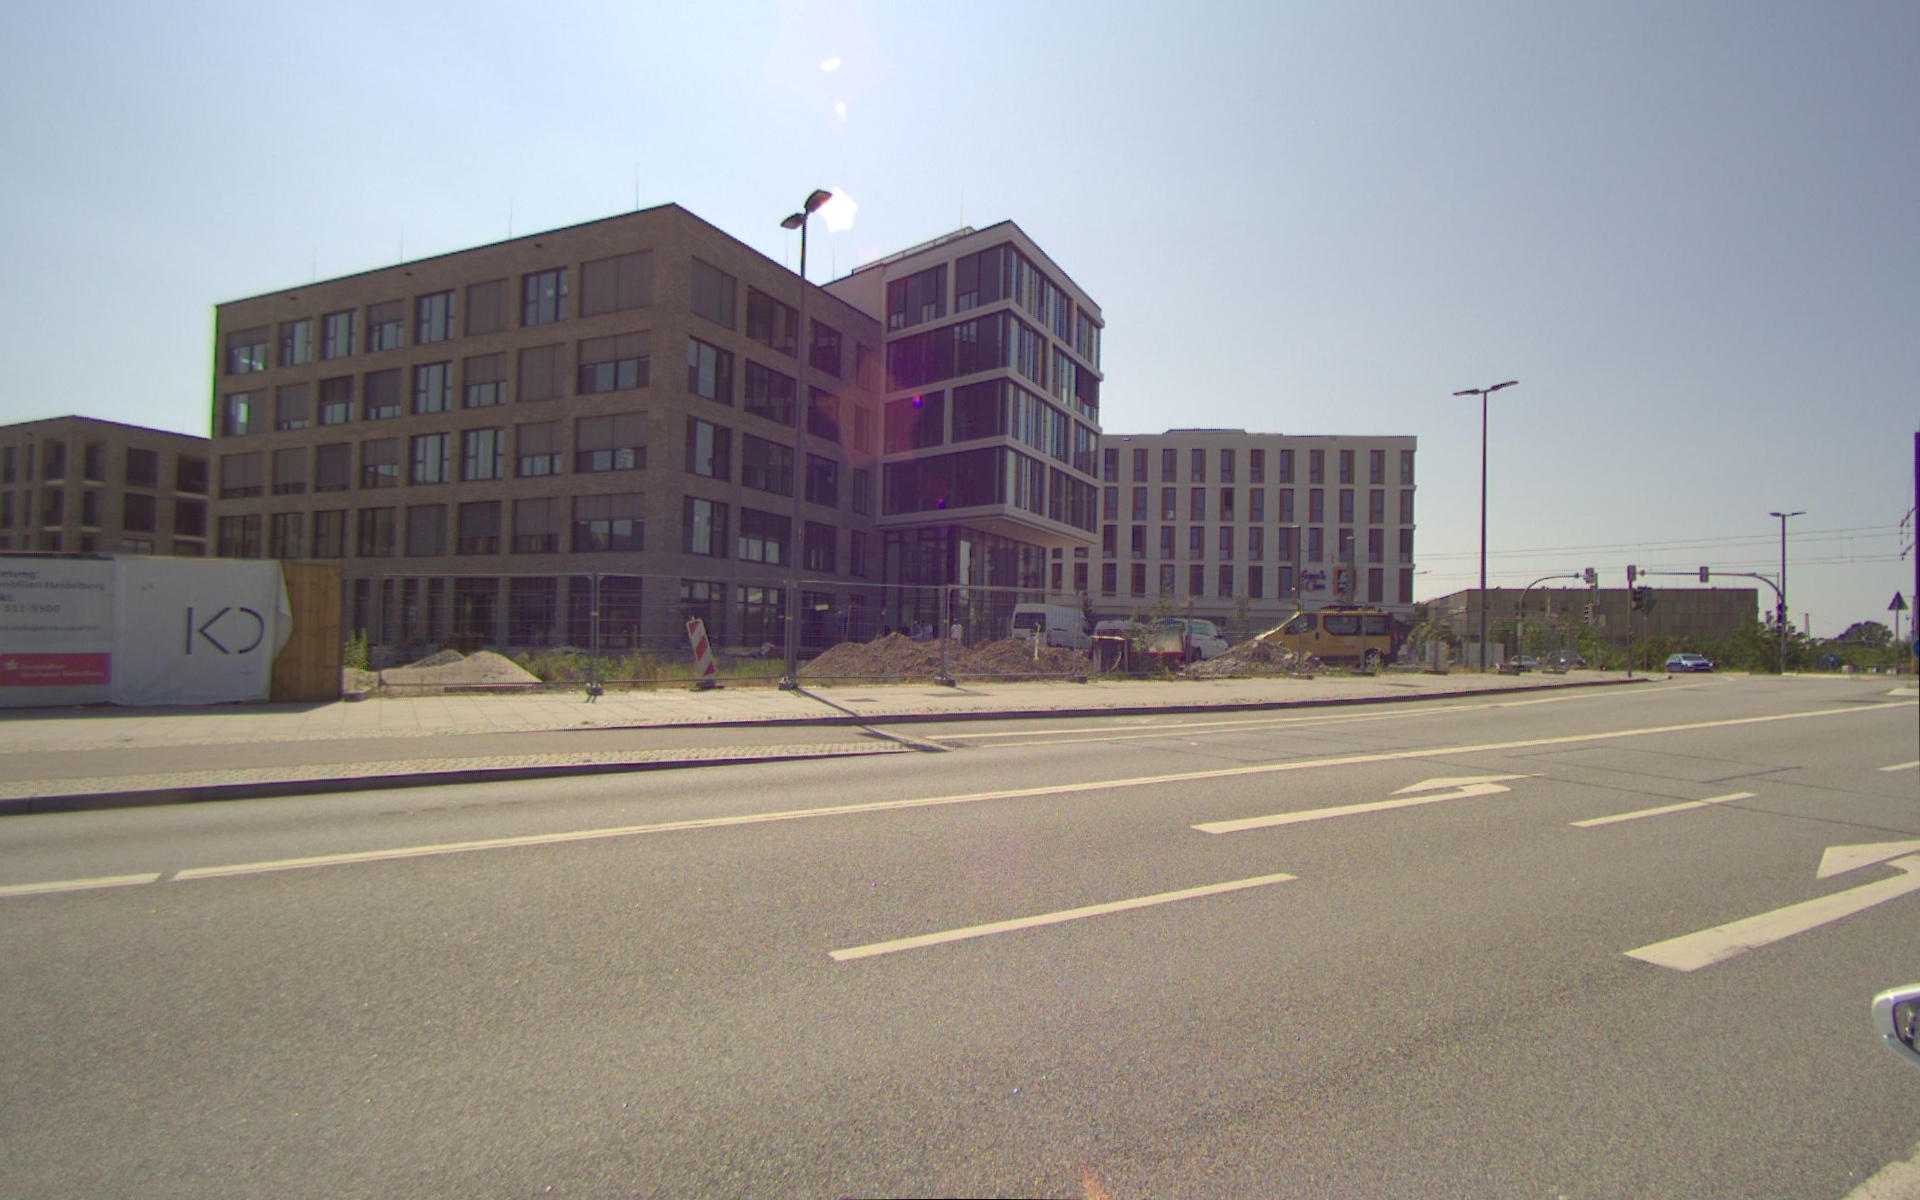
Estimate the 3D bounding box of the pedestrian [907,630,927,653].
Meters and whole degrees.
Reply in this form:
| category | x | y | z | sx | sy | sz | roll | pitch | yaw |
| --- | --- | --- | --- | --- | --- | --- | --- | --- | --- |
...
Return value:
| category | x | y | z | sx | sy | sz | roll | pitch | yaw |
| --- | --- | --- | --- | --- | --- | --- | --- | --- | --- |
| pedestrian | -2.036 | 1.972 | 47.394 | 0.734 | 1.041 | 0.699 | 2 | 0 | 16 |

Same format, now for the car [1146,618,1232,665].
| category | x | y | z | sx | sy | sz | roll | pitch | yaw |
| --- | --- | --- | --- | --- | --- | --- | --- | --- | --- |
| car | 9.657 | 1.686 | 42.166 | 1.841 | 1.797 | 4.637 | 2 | 0 | 36 |

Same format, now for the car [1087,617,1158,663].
| category | x | y | z | sx | sy | sz | roll | pitch | yaw |
| --- | --- | --- | --- | --- | --- | --- | --- | --- | --- |
| car | 7.098 | 1.699 | 43.666 | 1.759 | 1.881 | 3.843 | 2 | 0 | 30 |

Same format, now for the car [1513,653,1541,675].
| category | x | y | z | sx | sy | sz | roll | pitch | yaw |
| --- | --- | --- | --- | --- | --- | --- | --- | --- | --- |
| car | 46.771 | 5.292 | 82.897 | 1.541 | 1.608 | 3.477 | 2 | 0 | 23 |

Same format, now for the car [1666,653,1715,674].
| category | x | y | z | sx | sy | sz | roll | pitch | yaw |
| --- | --- | --- | --- | --- | --- | --- | --- | --- | --- |
| car | 52.230 | 4.501 | 71.886 | 1.787 | 1.348 | 4.000 | 2 | -2 | 20 |

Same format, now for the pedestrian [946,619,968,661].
| category | x | y | z | sx | sy | sz | roll | pitch | yaw |
| --- | --- | --- | --- | --- | --- | --- | --- | --- | --- |
| pedestrian | -0.129 | 1.729 | 43.531 | 0.734 | 1.741 | 0.699 | 2 | 0 | 16 |

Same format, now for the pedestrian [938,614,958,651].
| category | x | y | z | sx | sy | sz | roll | pitch | yaw |
| --- | --- | --- | --- | --- | --- | --- | --- | --- | --- |
| pedestrian | -0.577 | 1.573 | 48.884 | 0.734 | 1.741 | 0.699 | 2 | 0 | 16 |

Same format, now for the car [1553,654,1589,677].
| category | x | y | z | sx | sy | sz | roll | pitch | yaw |
| --- | --- | --- | --- | --- | --- | --- | --- | --- | --- |
| car | 44.475 | 4.767 | 73.169 | 1.646 | 1.496 | 3.405 | 0 | -1 | 22 |

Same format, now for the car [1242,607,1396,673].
| category | x | y | z | sx | sy | sz | roll | pitch | yaw |
| --- | --- | --- | --- | --- | --- | --- | --- | --- | --- |
| car | 11.976 | 1.291 | 33.753 | 4.533 | 1.988 | 1.991 | 2 | 0 | 9 |

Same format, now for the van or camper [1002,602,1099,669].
| category | x | y | z | sx | sy | sz | roll | pitch | yaw |
| --- | --- | --- | --- | --- | --- | --- | --- | --- | --- |
| van or camper | 4.133 | 1.546 | 45.086 | 2.273 | 2.772 | 4.975 | 2 | 0 | 32 |
